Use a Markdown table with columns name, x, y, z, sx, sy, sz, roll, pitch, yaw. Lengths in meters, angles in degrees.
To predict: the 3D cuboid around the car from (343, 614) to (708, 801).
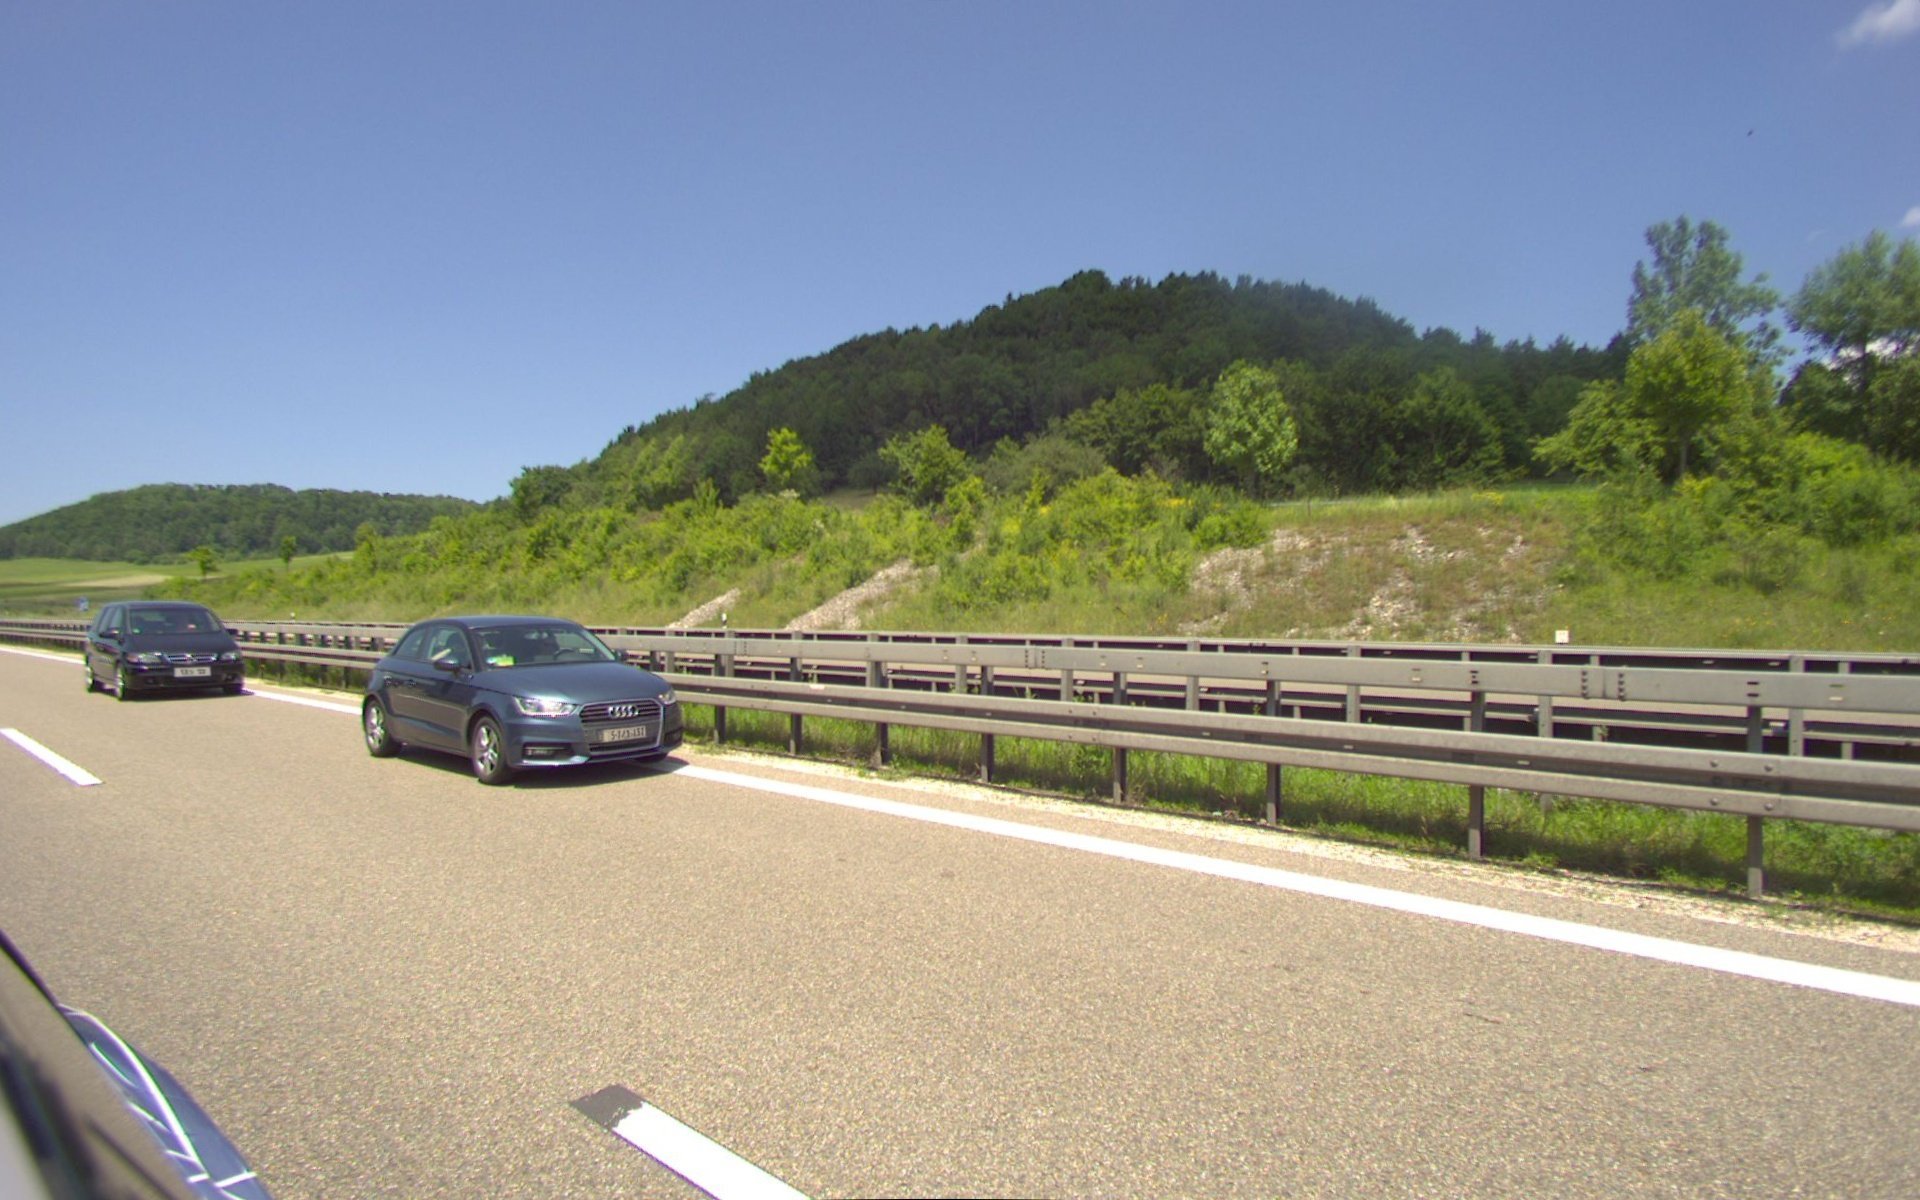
| name | x | y | z | sx | sy | sz | roll | pitch | yaw |
| --- | --- | --- | --- | --- | --- | --- | --- | --- | --- |
| car | -4.239 | 0.840 | 9.573 | 3.999 | 1.399 | 1.670 | -1 | -1 | 42 |

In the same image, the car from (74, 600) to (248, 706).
| name | x | y | z | sx | sy | sz | roll | pitch | yaw |
| --- | --- | --- | --- | --- | --- | --- | --- | --- | --- |
| car | -14.173 | 0.849 | 17.861 | 4.446 | 1.647 | 1.781 | -1 | -1 | 43 |

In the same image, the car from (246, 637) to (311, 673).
| name | x | y | z | sx | sy | sz | roll | pitch | yaw |
| --- | --- | --- | --- | --- | --- | --- | --- | --- | --- |
| car | -37.279 | 2.964 | 55.329 | 3.998 | 1.725 | 1.973 | 0 | 0 | 41 |
